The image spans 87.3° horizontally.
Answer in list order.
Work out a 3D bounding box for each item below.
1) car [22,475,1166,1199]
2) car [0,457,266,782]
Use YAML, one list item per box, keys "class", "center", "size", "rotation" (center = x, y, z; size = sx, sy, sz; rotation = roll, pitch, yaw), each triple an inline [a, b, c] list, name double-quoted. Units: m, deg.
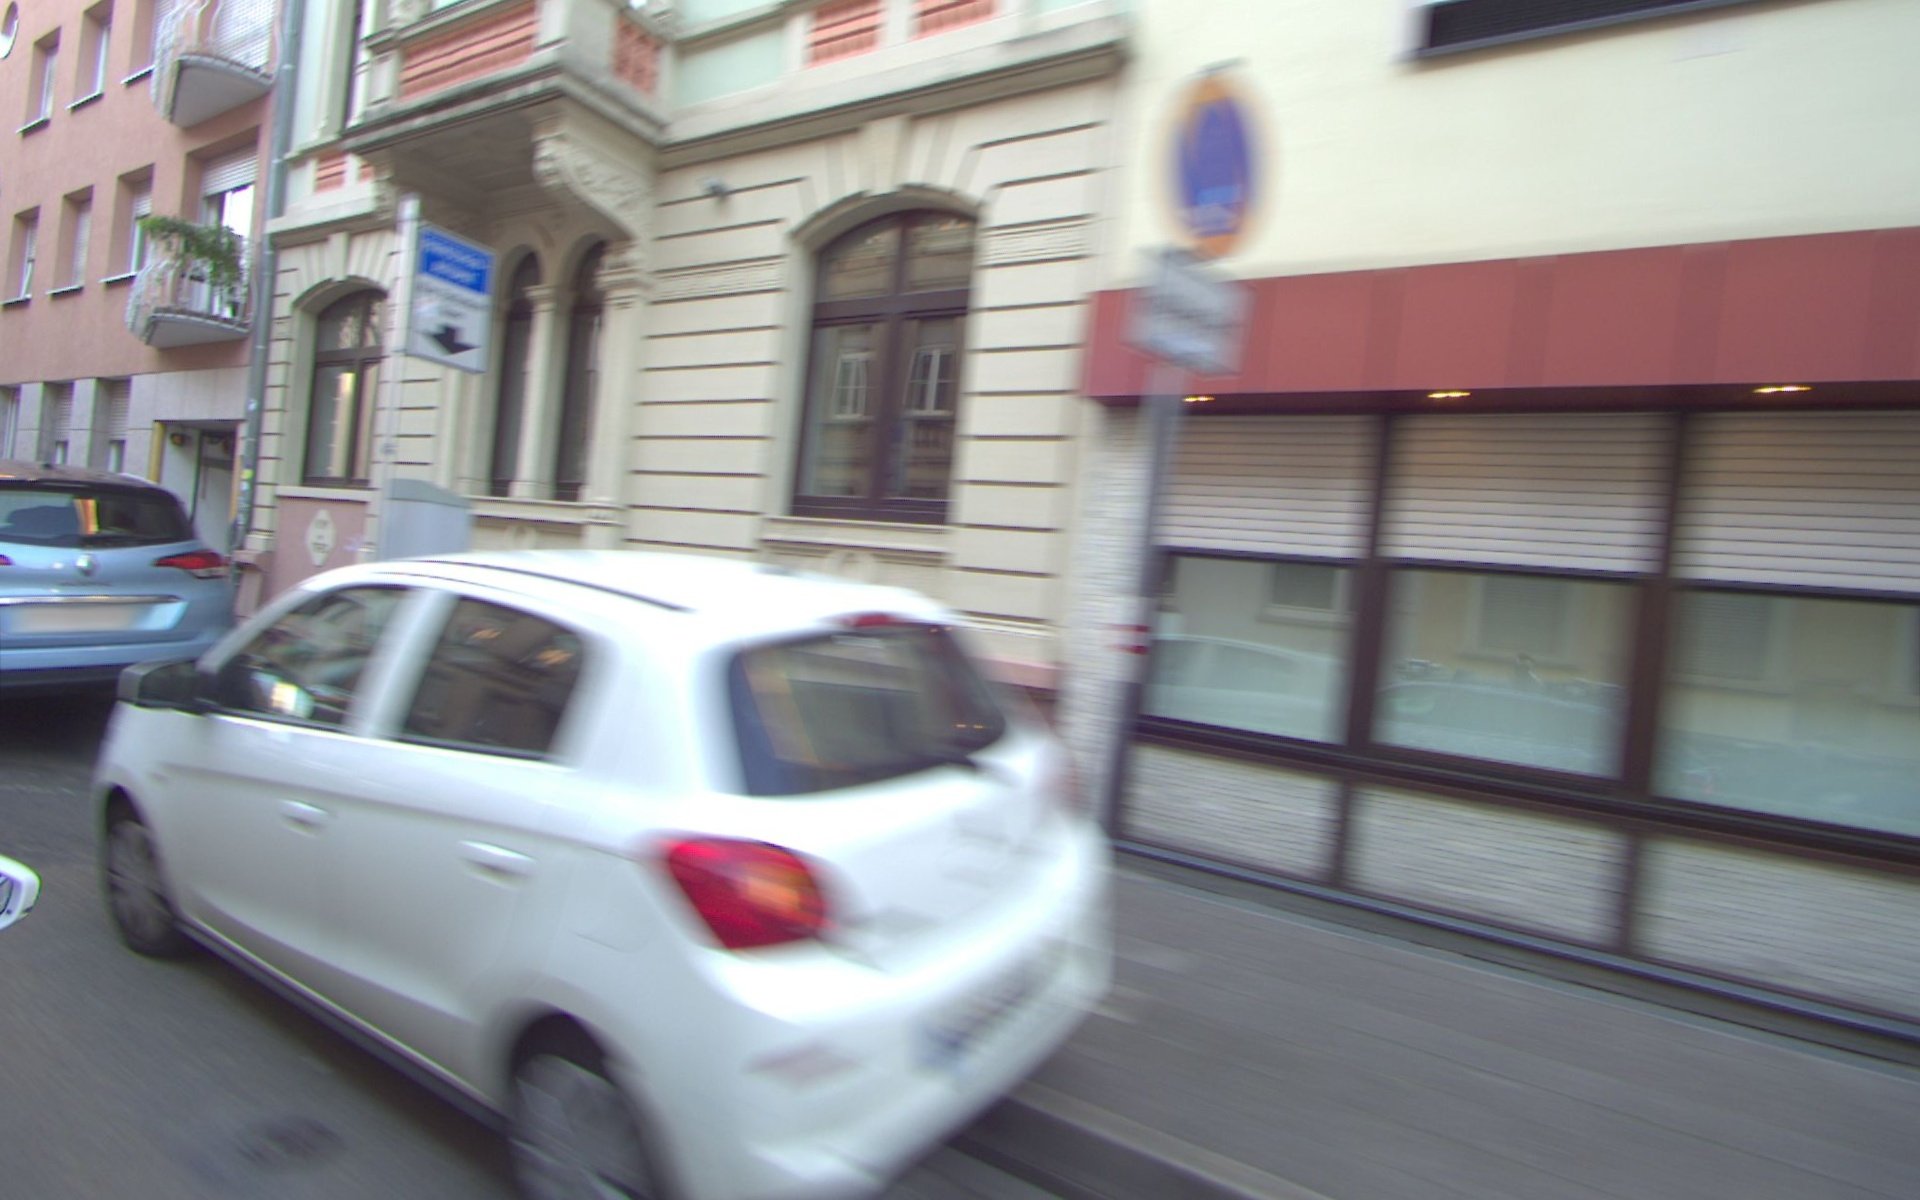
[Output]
- class: "car"
  center: [-1.360, 0.564, 3.297]
  size: [3.531, 1.598, 1.572]
  rotation: [6, -1, 32]
- class: "car"
  center: [-6.702, -0.025, 6.848]
  size: [4.042, 1.762, 1.691]
  rotation: [6, -1, 32]
